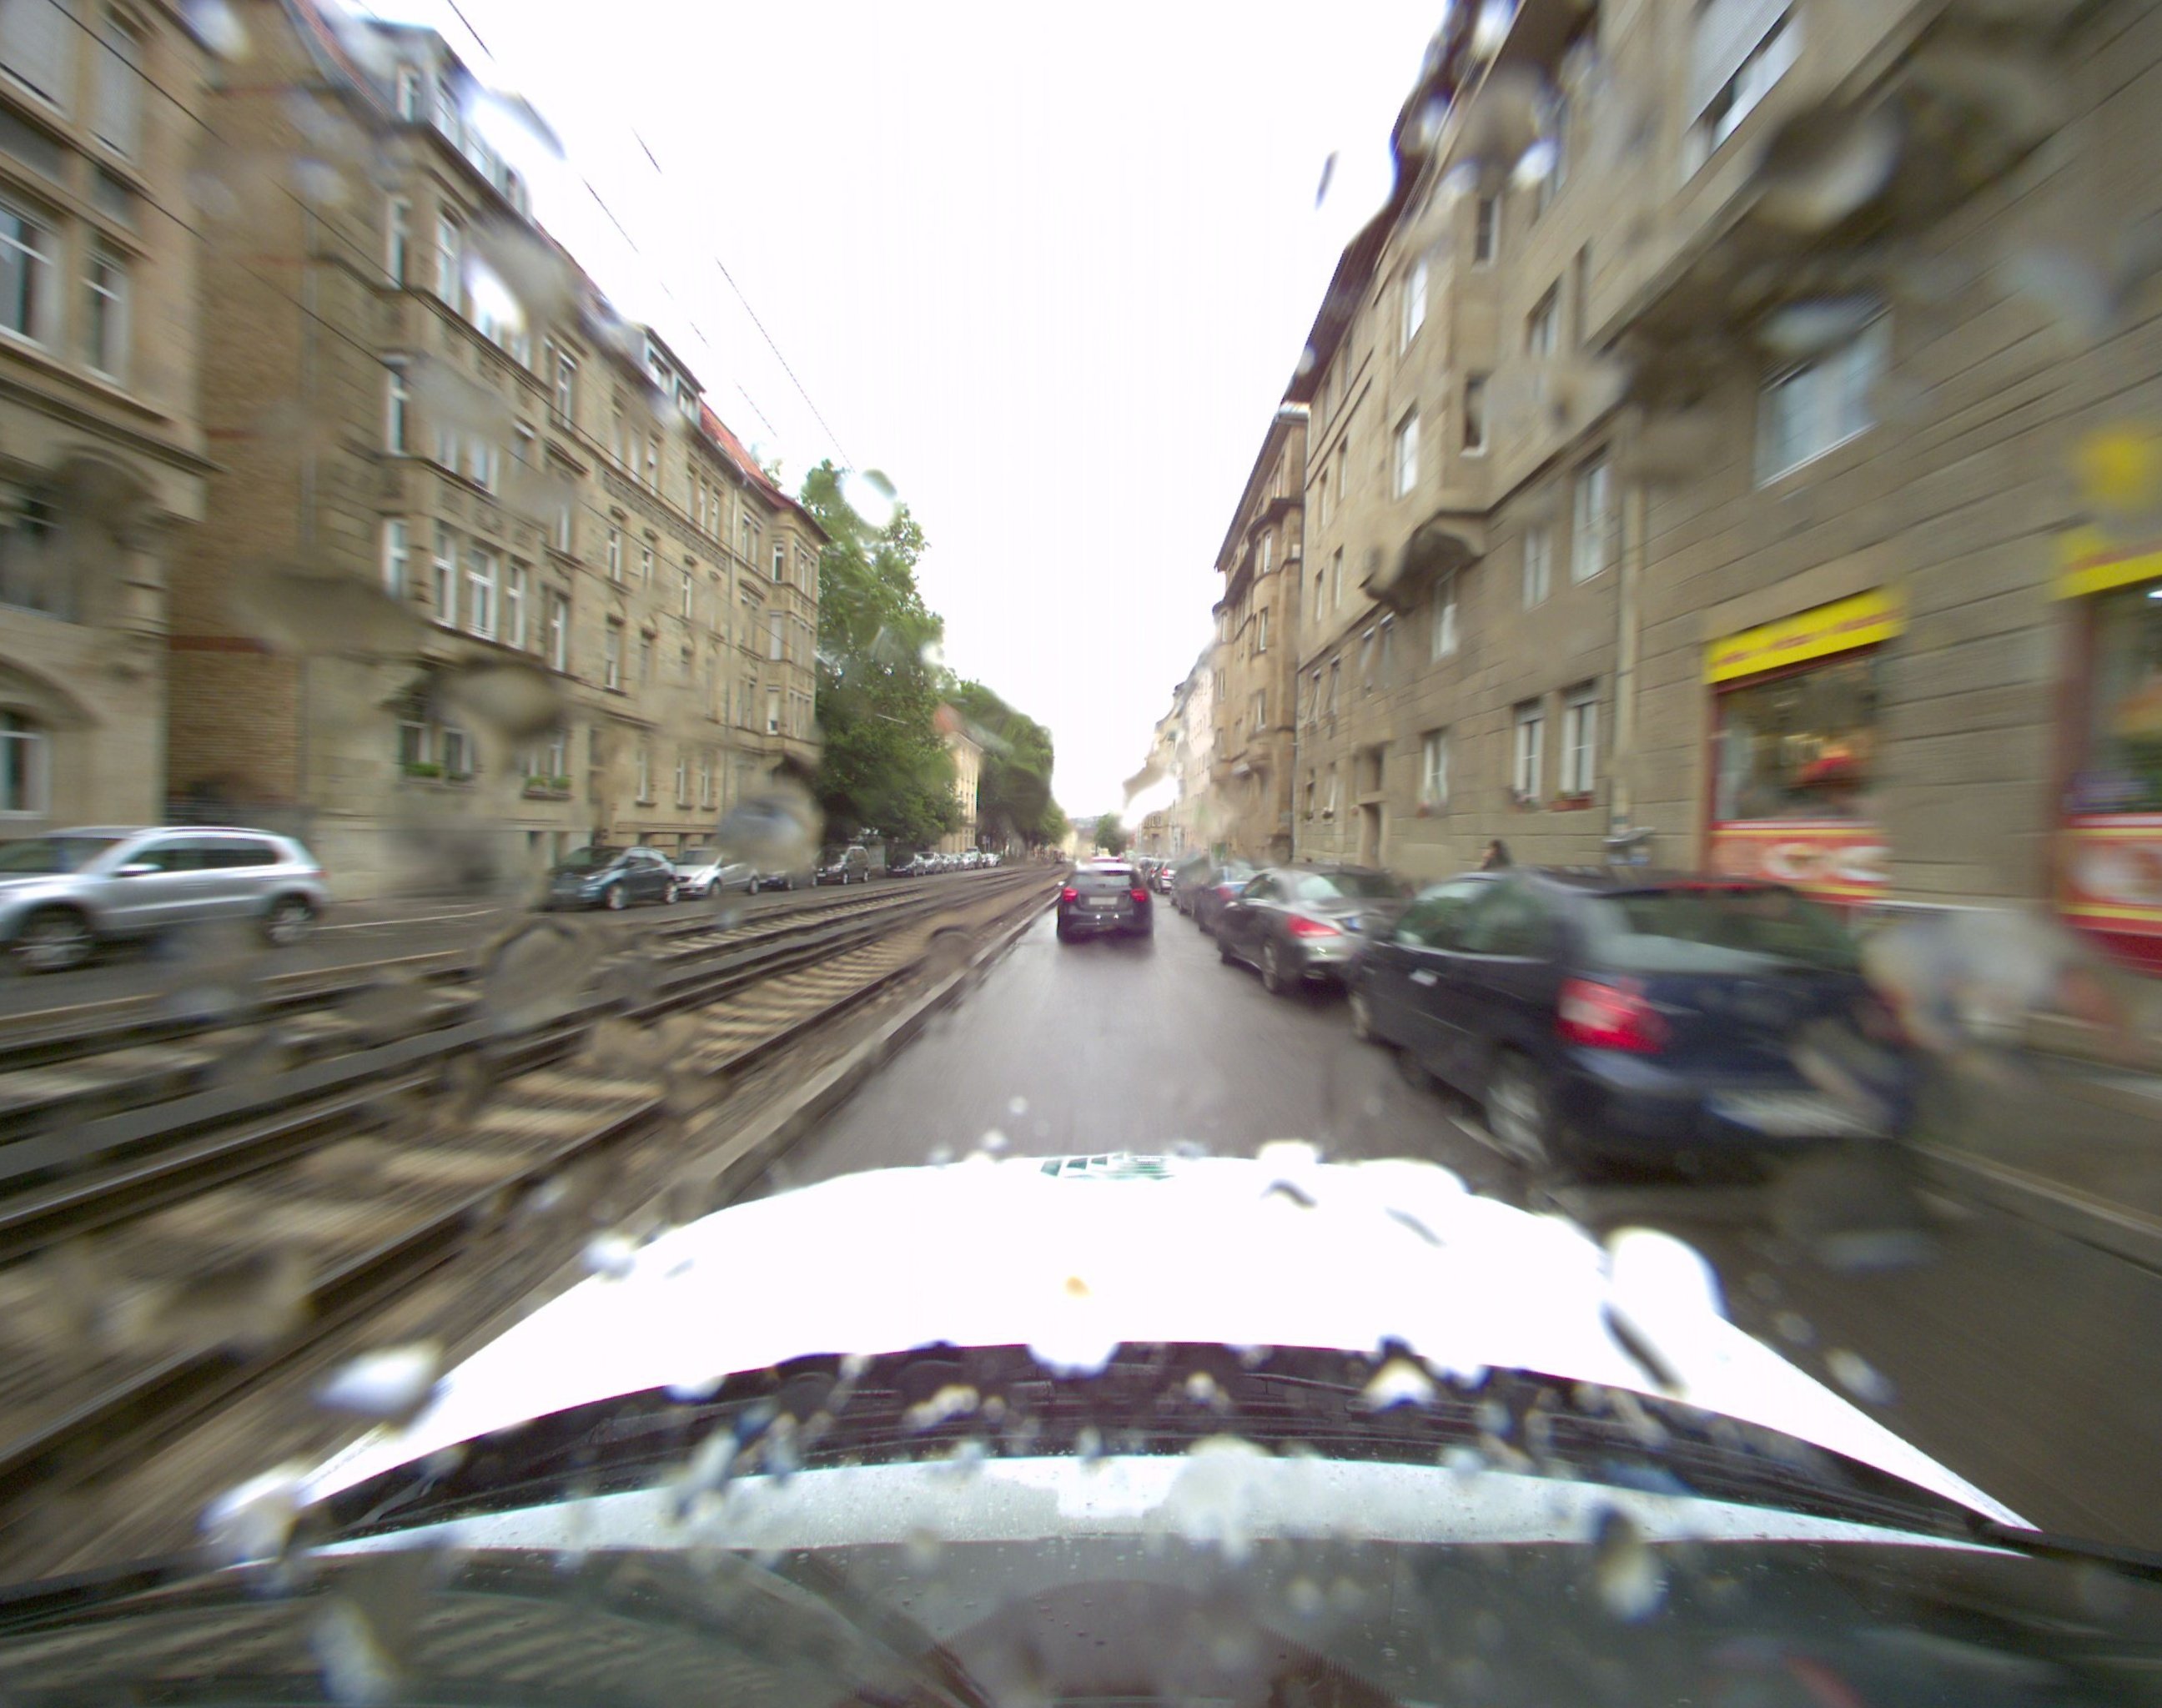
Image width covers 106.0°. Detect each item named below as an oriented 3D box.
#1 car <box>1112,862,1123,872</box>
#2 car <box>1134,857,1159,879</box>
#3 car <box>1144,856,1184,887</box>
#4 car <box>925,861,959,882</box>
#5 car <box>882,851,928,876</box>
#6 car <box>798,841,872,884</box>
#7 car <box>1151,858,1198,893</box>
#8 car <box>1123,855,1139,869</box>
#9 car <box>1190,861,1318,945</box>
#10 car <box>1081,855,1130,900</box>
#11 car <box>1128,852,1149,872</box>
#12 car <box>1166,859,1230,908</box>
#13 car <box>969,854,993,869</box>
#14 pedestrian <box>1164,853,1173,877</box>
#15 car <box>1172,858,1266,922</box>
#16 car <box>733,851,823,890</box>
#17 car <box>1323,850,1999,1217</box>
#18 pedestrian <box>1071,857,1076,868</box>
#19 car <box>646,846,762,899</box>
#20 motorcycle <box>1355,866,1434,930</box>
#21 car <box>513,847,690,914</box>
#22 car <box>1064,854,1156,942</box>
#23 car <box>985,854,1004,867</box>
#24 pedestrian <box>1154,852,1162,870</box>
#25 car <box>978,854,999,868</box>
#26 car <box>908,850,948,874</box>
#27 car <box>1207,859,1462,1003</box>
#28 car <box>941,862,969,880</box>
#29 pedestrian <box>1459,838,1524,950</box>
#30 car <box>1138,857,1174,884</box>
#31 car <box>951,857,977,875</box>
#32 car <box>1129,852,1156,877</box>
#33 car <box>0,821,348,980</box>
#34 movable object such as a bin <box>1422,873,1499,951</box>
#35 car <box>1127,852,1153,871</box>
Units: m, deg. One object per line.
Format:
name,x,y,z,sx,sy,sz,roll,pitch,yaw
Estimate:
car,6.462,2.287,143.606,1.820,1.618,3.866,-1,0,2
car,4.556,0.976,57.048,1.564,1.462,3.601,0,0,2
car,4.093,0.831,40.568,1.662,1.434,3.956,0,0,1
car,-10.350,1.291,60.850,1.748,1.413,4.154,-1,0,1
car,-10.763,0.577,50.081,1.843,1.464,4.550,-1,0,0
car,-11.267,0.354,37.601,1.794,1.846,4.820,0,0,2
car,3.969,0.886,34.975,1.585,1.434,3.683,0,0,0
car,5.567,0.892,91.549,1.687,1.529,4.002,1,0,2
car,3.257,0.860,16.039,1.701,1.398,4.018,1,0,0
car,0.956,0.861,31.723,1.778,1.581,4.002,1,0,2
car,5.378,0.742,76.275,1.820,1.750,4.471,1,0,3
car,3.618,0.877,25.589,1.538,1.415,3.446,1,0,0
car,-9.936,0.765,80.799,1.668,1.413,4.013,-1,0,3
pedestrian,6.633,0.831,61.813,0.605,1.763,0.688,-1,0,1
car,3.459,0.860,21.099,1.781,1.462,4.083,1,0,0
car,-11.474,0.593,31.153,1.756,1.398,4.270,0,0,1
car,2.860,0.716,5.133,1.664,1.444,3.792,-1,0,2
pedestrian,-1.139,1.319,127.023,0.803,1.634,0.892,-1,0,2
car,-11.561,0.528,25.269,1.688,1.524,3.857,0,0,2
motorcycle,6.549,0.875,17.187,0.702,1.199,2.747,1,0,2
car,-11.845,0.602,20.485,1.863,1.508,4.171,0,0,2
car,0.553,0.770,15.896,1.574,1.505,3.575,1,0,1
car,-9.538,0.707,89.772,1.608,1.429,3.853,0,0,1
pedestrian,7.859,0.728,83.178,0.743,1.833,1.039,-2,0,3
car,-9.703,0.686,85.447,1.494,1.391,3.990,-1,0,3
car,-10.431,0.549,55.816,1.748,1.536,4.543,-1,0,1
car,2.882,0.777,10.379,1.749,1.387,4.482,-1,0,-2
car,-10.098,1.341,65.300,1.534,1.413,3.953,-1,0,1
pedestrian,5.791,0.547,11.517,0.559,1.535,0.710,1,0,2
car,4.189,0.907,45.853,1.664,1.410,4.311,0,0,0
car,-10.103,1.036,70.560,1.534,1.505,4.155,-1,0,1
car,4.625,0.762,61.476,1.784,1.765,4.213,0,0,1
car,-12.131,0.481,10.254,1.852,1.652,4.315,0,0,1
movable object such as a bin,5.775,0.856,12.455,0.662,1.103,1.124,1,0,1
car,4.786,0.592,66.535,1.865,1.455,4.903,1,0,1
